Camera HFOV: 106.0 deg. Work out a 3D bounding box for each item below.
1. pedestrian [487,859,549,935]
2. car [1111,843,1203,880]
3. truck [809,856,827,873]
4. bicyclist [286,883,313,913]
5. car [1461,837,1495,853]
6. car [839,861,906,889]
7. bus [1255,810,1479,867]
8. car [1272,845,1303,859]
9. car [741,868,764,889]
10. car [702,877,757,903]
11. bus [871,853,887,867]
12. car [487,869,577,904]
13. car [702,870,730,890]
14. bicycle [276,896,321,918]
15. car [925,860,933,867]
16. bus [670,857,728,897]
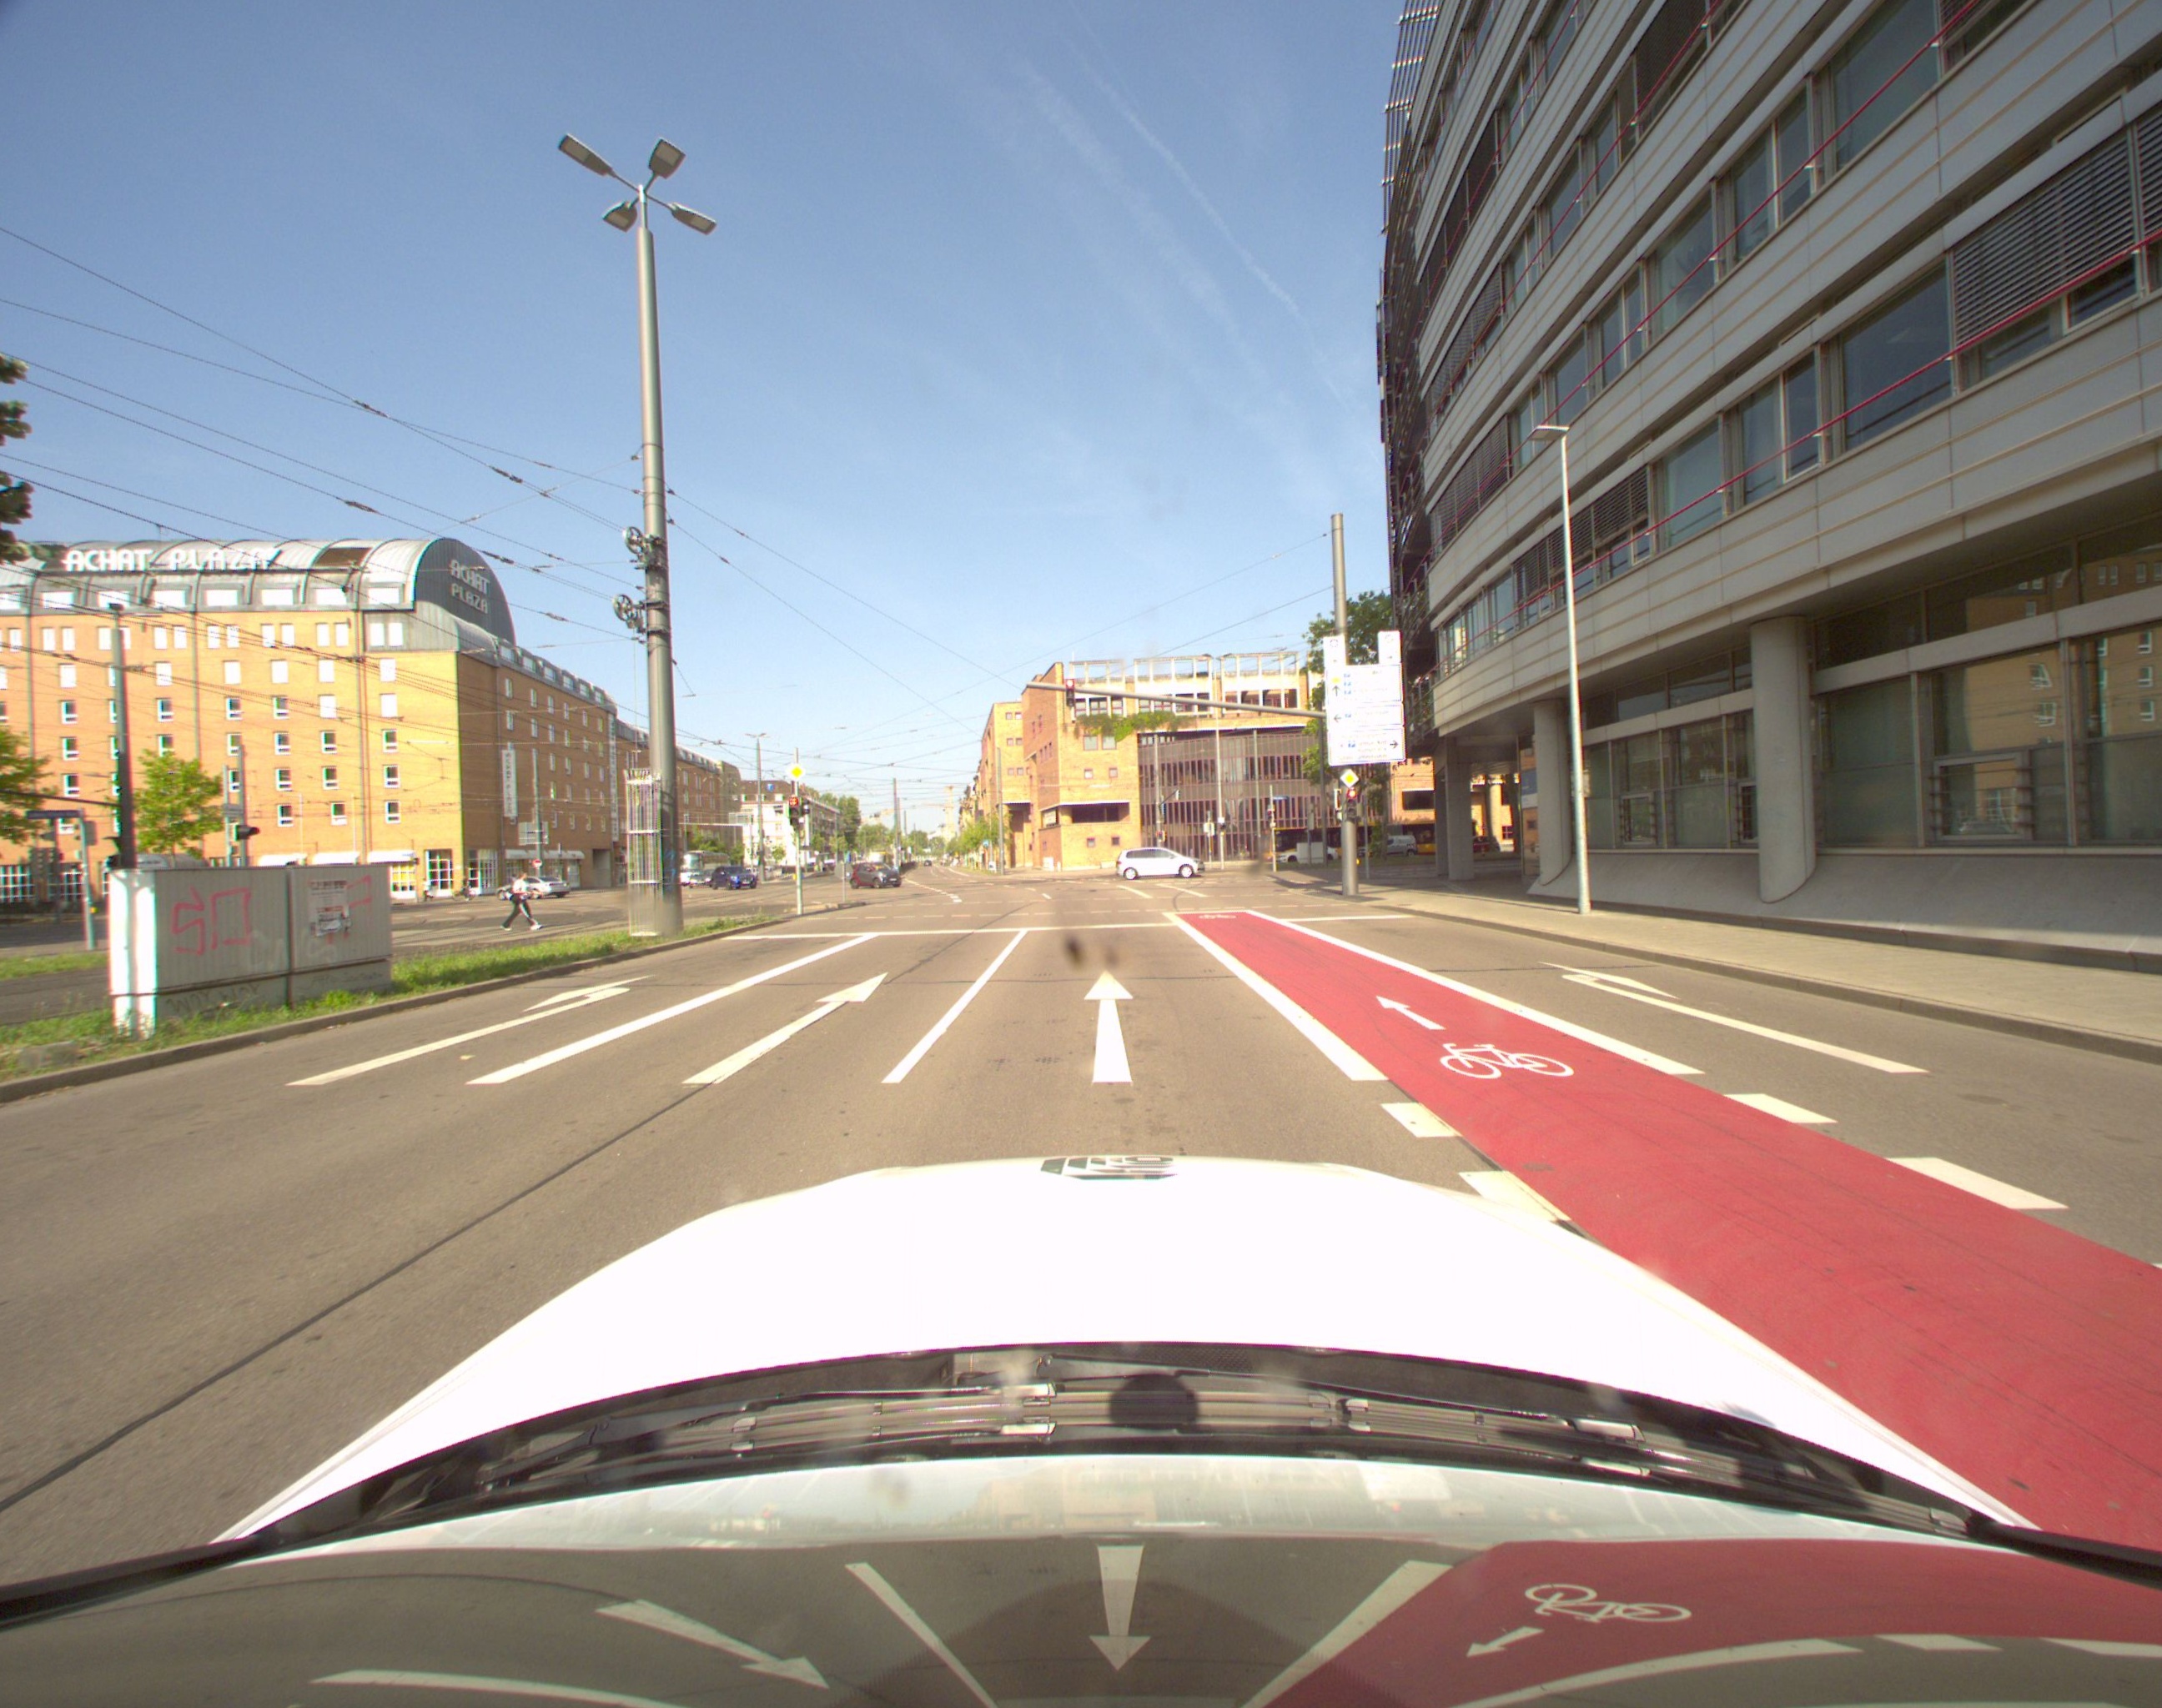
[{"bbox_3d":[-15.558,1.175,22.534,1.156,2.014,0.773,-2,-2,-11],"label":"pedestrian"},{"bbox_3d":[3.849,0.381,40.950,4.349,1.634,1.696,-2,1,11],"label":"car"},{"bbox_3d":[-40.961,1.617,126.795,1.994,2.598,4.722,-2,0,-11],"label":"truck"},{"bbox_3d":[-46.914,2.615,48.879,0.662,1.747,0.967,-2,-2,-1],"label":"bicyclist"},{"bbox_3d":[30.306,-0.700,62.159,2.233,1.111,0.722,-2,-2,-3],"label":"car"},{"bbox_3d":[-12.076,1.241,47.144,3.556,1.492,1.713,-4,-4,32],"label":"car"},{"bbox_3d":[22.895,-1.236,65.283,17.604,3.811,2.856,-2,-2,-9],"label":"bus"},{"bbox_3d":[15.184,-0.139,59.943,1.945,0.958,1.093,0,-2,-1],"label":"car"},{"bbox_3d":[-33.667,2.518,83.579,1.602,2.014,2.720,-2,-2,-10],"label":"car"},{"bbox_3d":[-23.651,2.444,54.699,2.003,1.636,4.359,-1,-2,-43],"label":"car"},{"bbox_3d":[-30.779,0.903,123.976,1.994,2.013,3.985,-2,0,-10],"label":"bus"},{"bbox_3d":[-34.450,2.035,51.152,4.569,2.013,2.007,-2,0,13],"label":"car"},{"bbox_3d":[-29.316,2.090,65.363,2.003,1.487,4.185,-2,-2,-25],"label":"car"},{"bbox_3d":[-46.882,3.161,48.847,0.547,1.206,2.285,-2,-2,-2],"label":"bicycle"},{"bbox_3d":[-37.945,2.347,203.086,2.074,1.542,4.397,-2,-2,-11],"label":"car"},{"bbox_3d":[-40.997,2.482,87.880,2.748,3.921,12.167,-2,-2,-11],"label":"bus"}]
